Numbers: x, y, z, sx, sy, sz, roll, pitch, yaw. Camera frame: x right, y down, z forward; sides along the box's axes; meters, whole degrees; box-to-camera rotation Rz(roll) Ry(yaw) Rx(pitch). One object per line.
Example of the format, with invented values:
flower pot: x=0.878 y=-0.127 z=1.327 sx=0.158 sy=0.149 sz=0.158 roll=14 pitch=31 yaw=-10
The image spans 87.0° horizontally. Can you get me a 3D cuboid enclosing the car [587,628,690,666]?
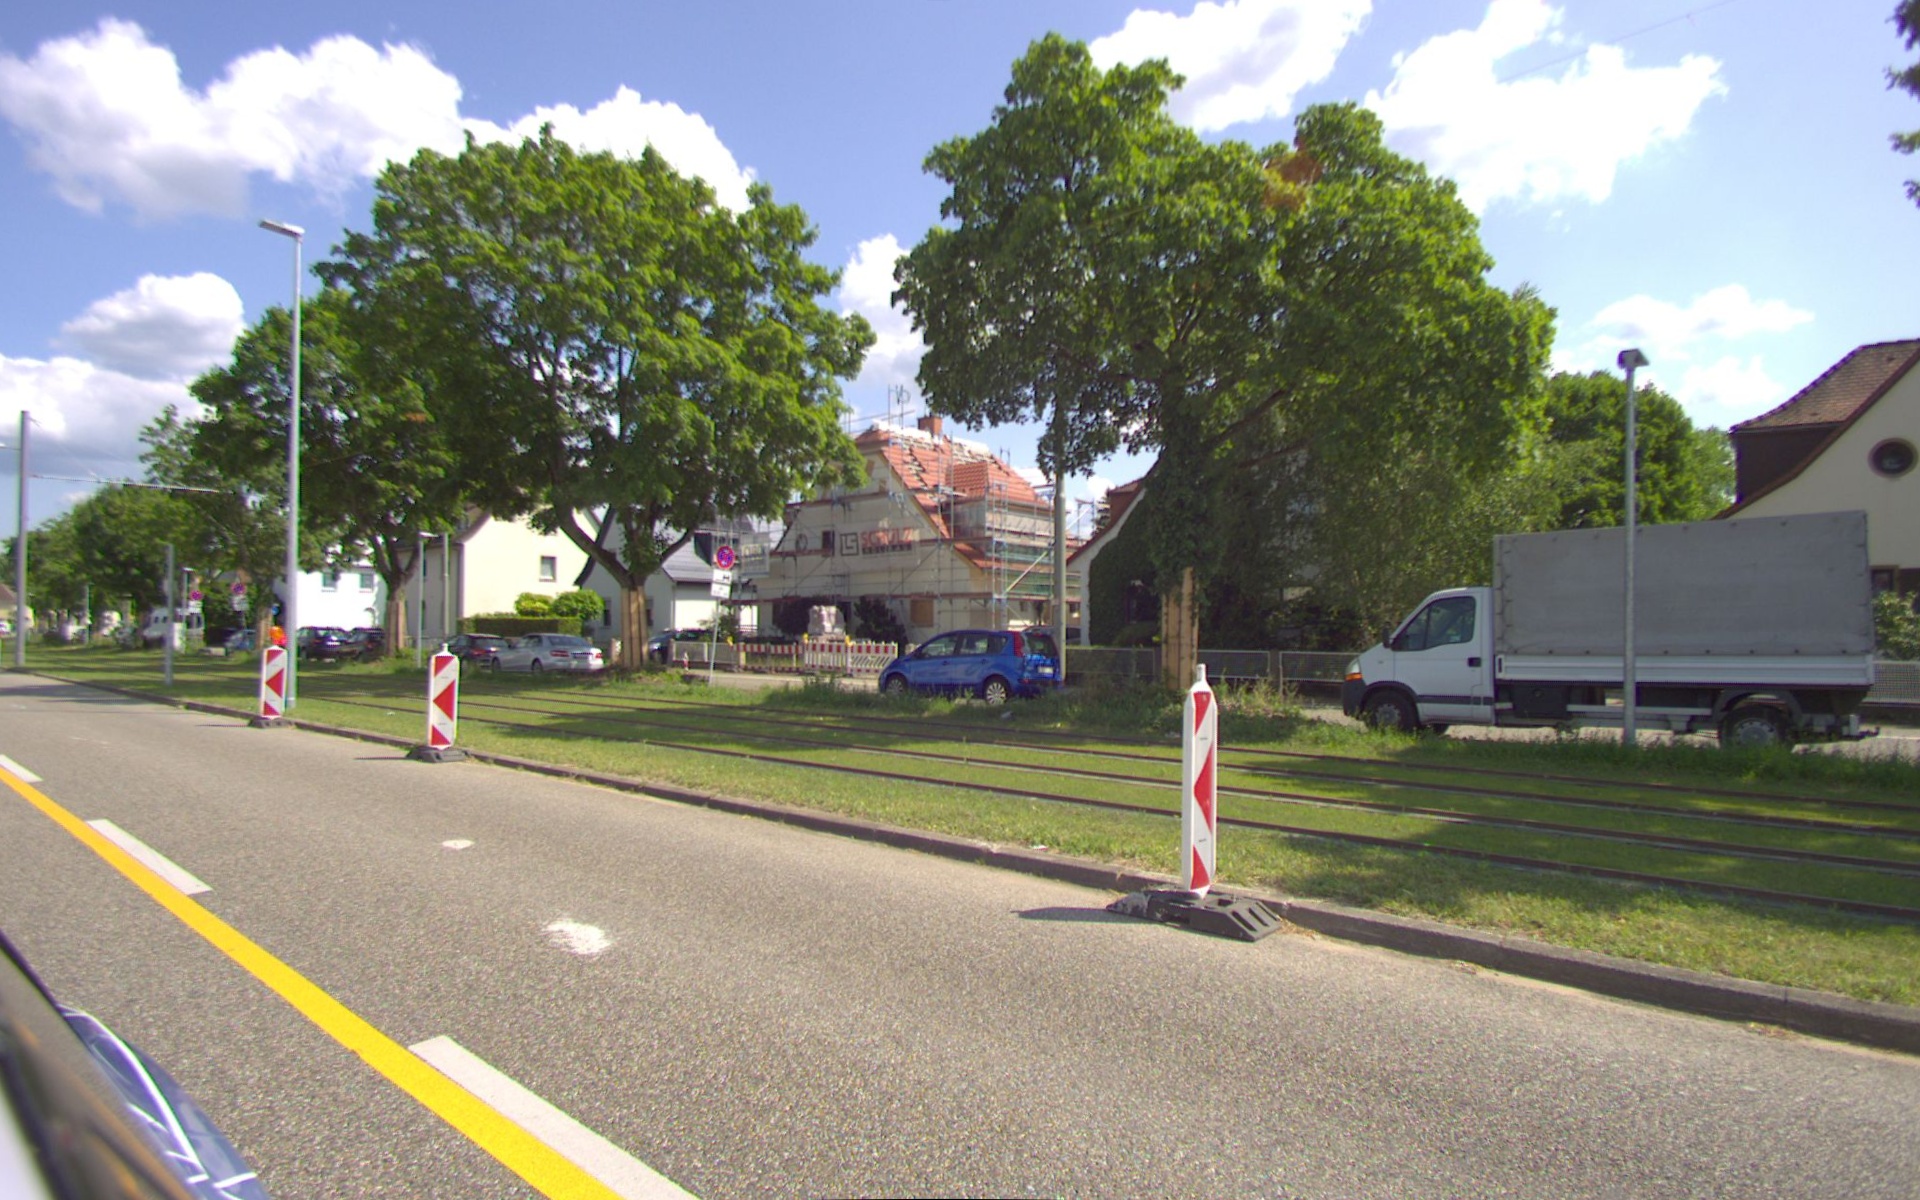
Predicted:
car: x=-14.083 y=2.050 z=44.512 sx=1.756 sy=1.623 sz=3.995 roll=-2 pitch=-3 yaw=41

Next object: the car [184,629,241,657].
car: x=-44.647 y=2.555 z=60.407 sx=4.603 sy=1.623 sz=1.733 roll=-2 pitch=-3 yaw=40

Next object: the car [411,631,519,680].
car: x=-17.614 y=1.917 z=35.936 sx=4.603 sy=1.623 sz=1.733 roll=-2 pitch=-3 yaw=40

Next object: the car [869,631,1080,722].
car: x=0.220 y=1.446 z=20.200 sx=4.047 sy=1.623 sz=1.733 roll=-2 pitch=-3 yaw=40

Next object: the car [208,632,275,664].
car: x=-37.646 y=2.470 z=52.983 sx=4.603 sy=1.623 sz=1.733 roll=-2 pitch=-3 yaw=40

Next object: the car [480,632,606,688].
car: x=-13.173 y=1.832 z=31.865 sx=4.603 sy=1.623 sz=1.733 roll=-2 pitch=-3 yaw=40

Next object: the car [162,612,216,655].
car: x=-48.839 y=2.109 z=64.104 sx=4.603 sy=2.636 sz=1.733 roll=-2 pitch=-3 yaw=40

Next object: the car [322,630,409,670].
car: x=-25.184 y=2.076 z=42.831 sx=4.603 sy=1.623 sz=1.733 roll=-2 pitch=-3 yaw=40

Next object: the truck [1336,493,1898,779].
truck: x=8.275 y=0.467 z=13.361 sx=5.871 sy=3.010 sz=1.982 roll=-2 pitch=-3 yaw=41

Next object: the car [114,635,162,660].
car: x=-57.025 y=3.270 z=70.153 sx=4.603 sy=1.623 sz=1.733 roll=-2 pitch=-3 yaw=40

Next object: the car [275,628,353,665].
car: x=-29.603 y=2.100 z=46.335 sx=4.603 sy=1.623 sz=1.733 roll=-2 pitch=-3 yaw=40
